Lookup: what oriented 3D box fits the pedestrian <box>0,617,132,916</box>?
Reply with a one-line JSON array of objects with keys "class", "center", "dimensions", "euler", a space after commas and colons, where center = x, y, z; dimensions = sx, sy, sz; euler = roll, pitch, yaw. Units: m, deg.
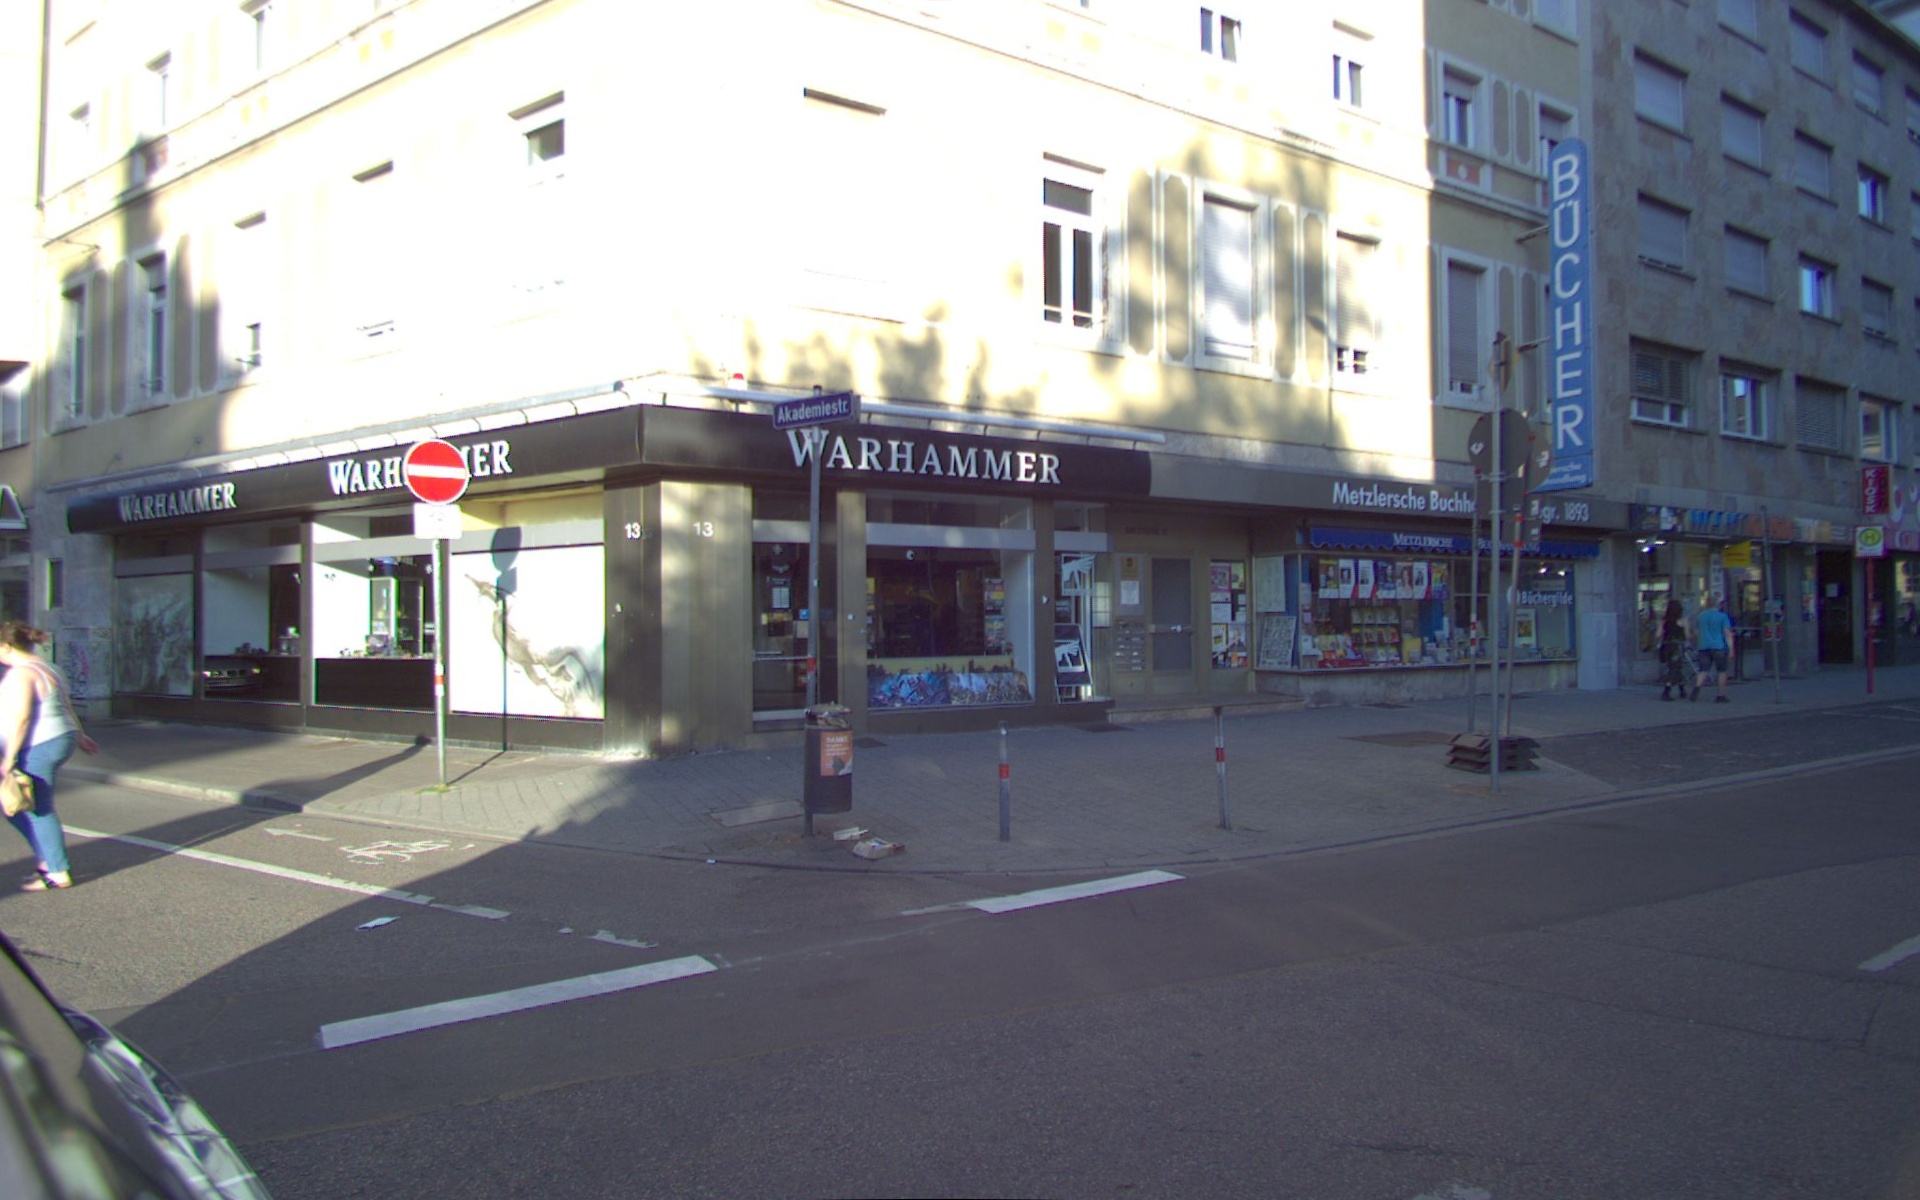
[{"class": "pedestrian", "center": [-5.552, 0.913, 5.931], "dimensions": [0.724, 1.625, 0.805], "euler": [0, -1, 1]}]

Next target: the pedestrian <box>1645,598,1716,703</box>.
[{"class": "pedestrian", "center": [12.075, 0.829, 16.967], "dimensions": [0.789, 1.720, 0.667], "euler": [0, -1, -29]}]

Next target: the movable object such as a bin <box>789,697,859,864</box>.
[{"class": "movable object such as a bin", "center": [-0.931, 1.225, 6.964], "dimensions": [0.353, 1.072, 0.358], "euler": [-1, -1, 20]}]

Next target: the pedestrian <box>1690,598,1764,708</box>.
[{"class": "pedestrian", "center": [12.378, 0.837, 16.345], "dimensions": [0.789, 1.720, 0.667], "euler": [0, -1, -29]}]
